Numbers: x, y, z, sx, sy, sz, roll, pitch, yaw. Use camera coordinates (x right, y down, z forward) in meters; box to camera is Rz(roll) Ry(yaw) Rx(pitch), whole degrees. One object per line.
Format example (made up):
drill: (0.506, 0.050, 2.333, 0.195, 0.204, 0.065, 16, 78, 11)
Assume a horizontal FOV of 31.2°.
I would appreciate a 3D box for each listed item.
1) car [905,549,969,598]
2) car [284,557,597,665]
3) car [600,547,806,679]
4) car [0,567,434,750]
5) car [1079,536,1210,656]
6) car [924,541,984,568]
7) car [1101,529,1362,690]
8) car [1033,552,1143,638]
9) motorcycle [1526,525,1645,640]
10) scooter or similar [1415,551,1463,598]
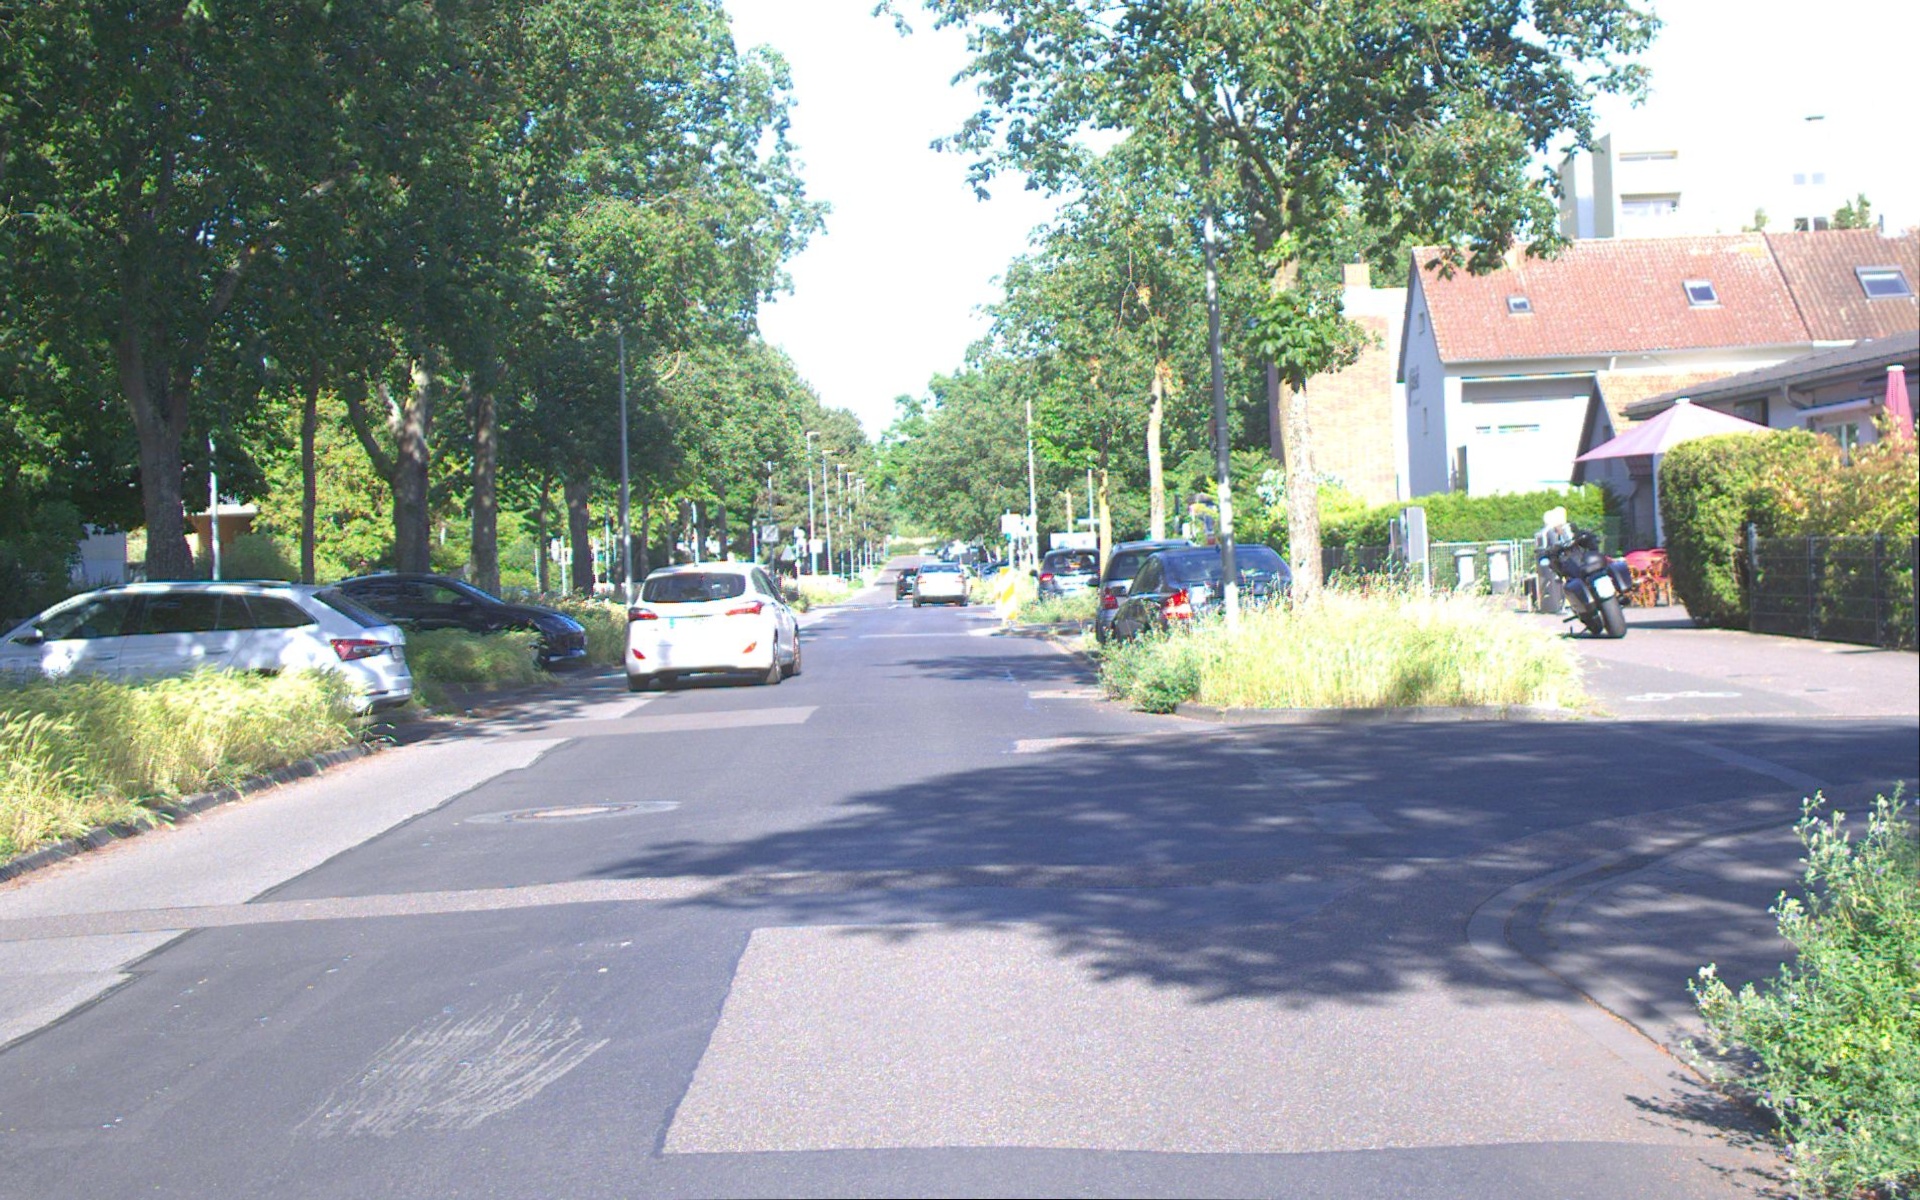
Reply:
car: (-0.735, -0.841, 109.370, 1.993, 1.503, 3.658, 1, 0, -1)
car: (-7.626, 0.150, 50.798, 4.367, 1.526, 1.808, 0, 0, -1)
car: (-3.071, 0.120, 41.968, 1.994, 1.450, 4.224, -2, 1, 2)
car: (-7.274, 0.520, 31.078, 4.671, 1.498, 2.000, -2, 1, 1)
car: (2.601, -0.073, 49.207, 1.610, 1.616, 4.382, 1, 0, 0)
car: (-0.440, -3.125, 236.648, 3.986, 1.744, 2.000, -2, 1, -3)
car: (2.869, 0.080, 37.258, 1.993, 1.616, 4.382, 1, 0, -6)
car: (2.804, -0.102, 76.000, 1.993, 1.722, 4.000, -4, 0, -3)
motorcycle: (7.118, -0.212, 39.230, 0.818, 1.223, 2.352, -3, 1, -1)
scooter or similar: (8.896, -0.476, 63.860, 0.368, 0.855, 1.412, -1, 1, -14)
